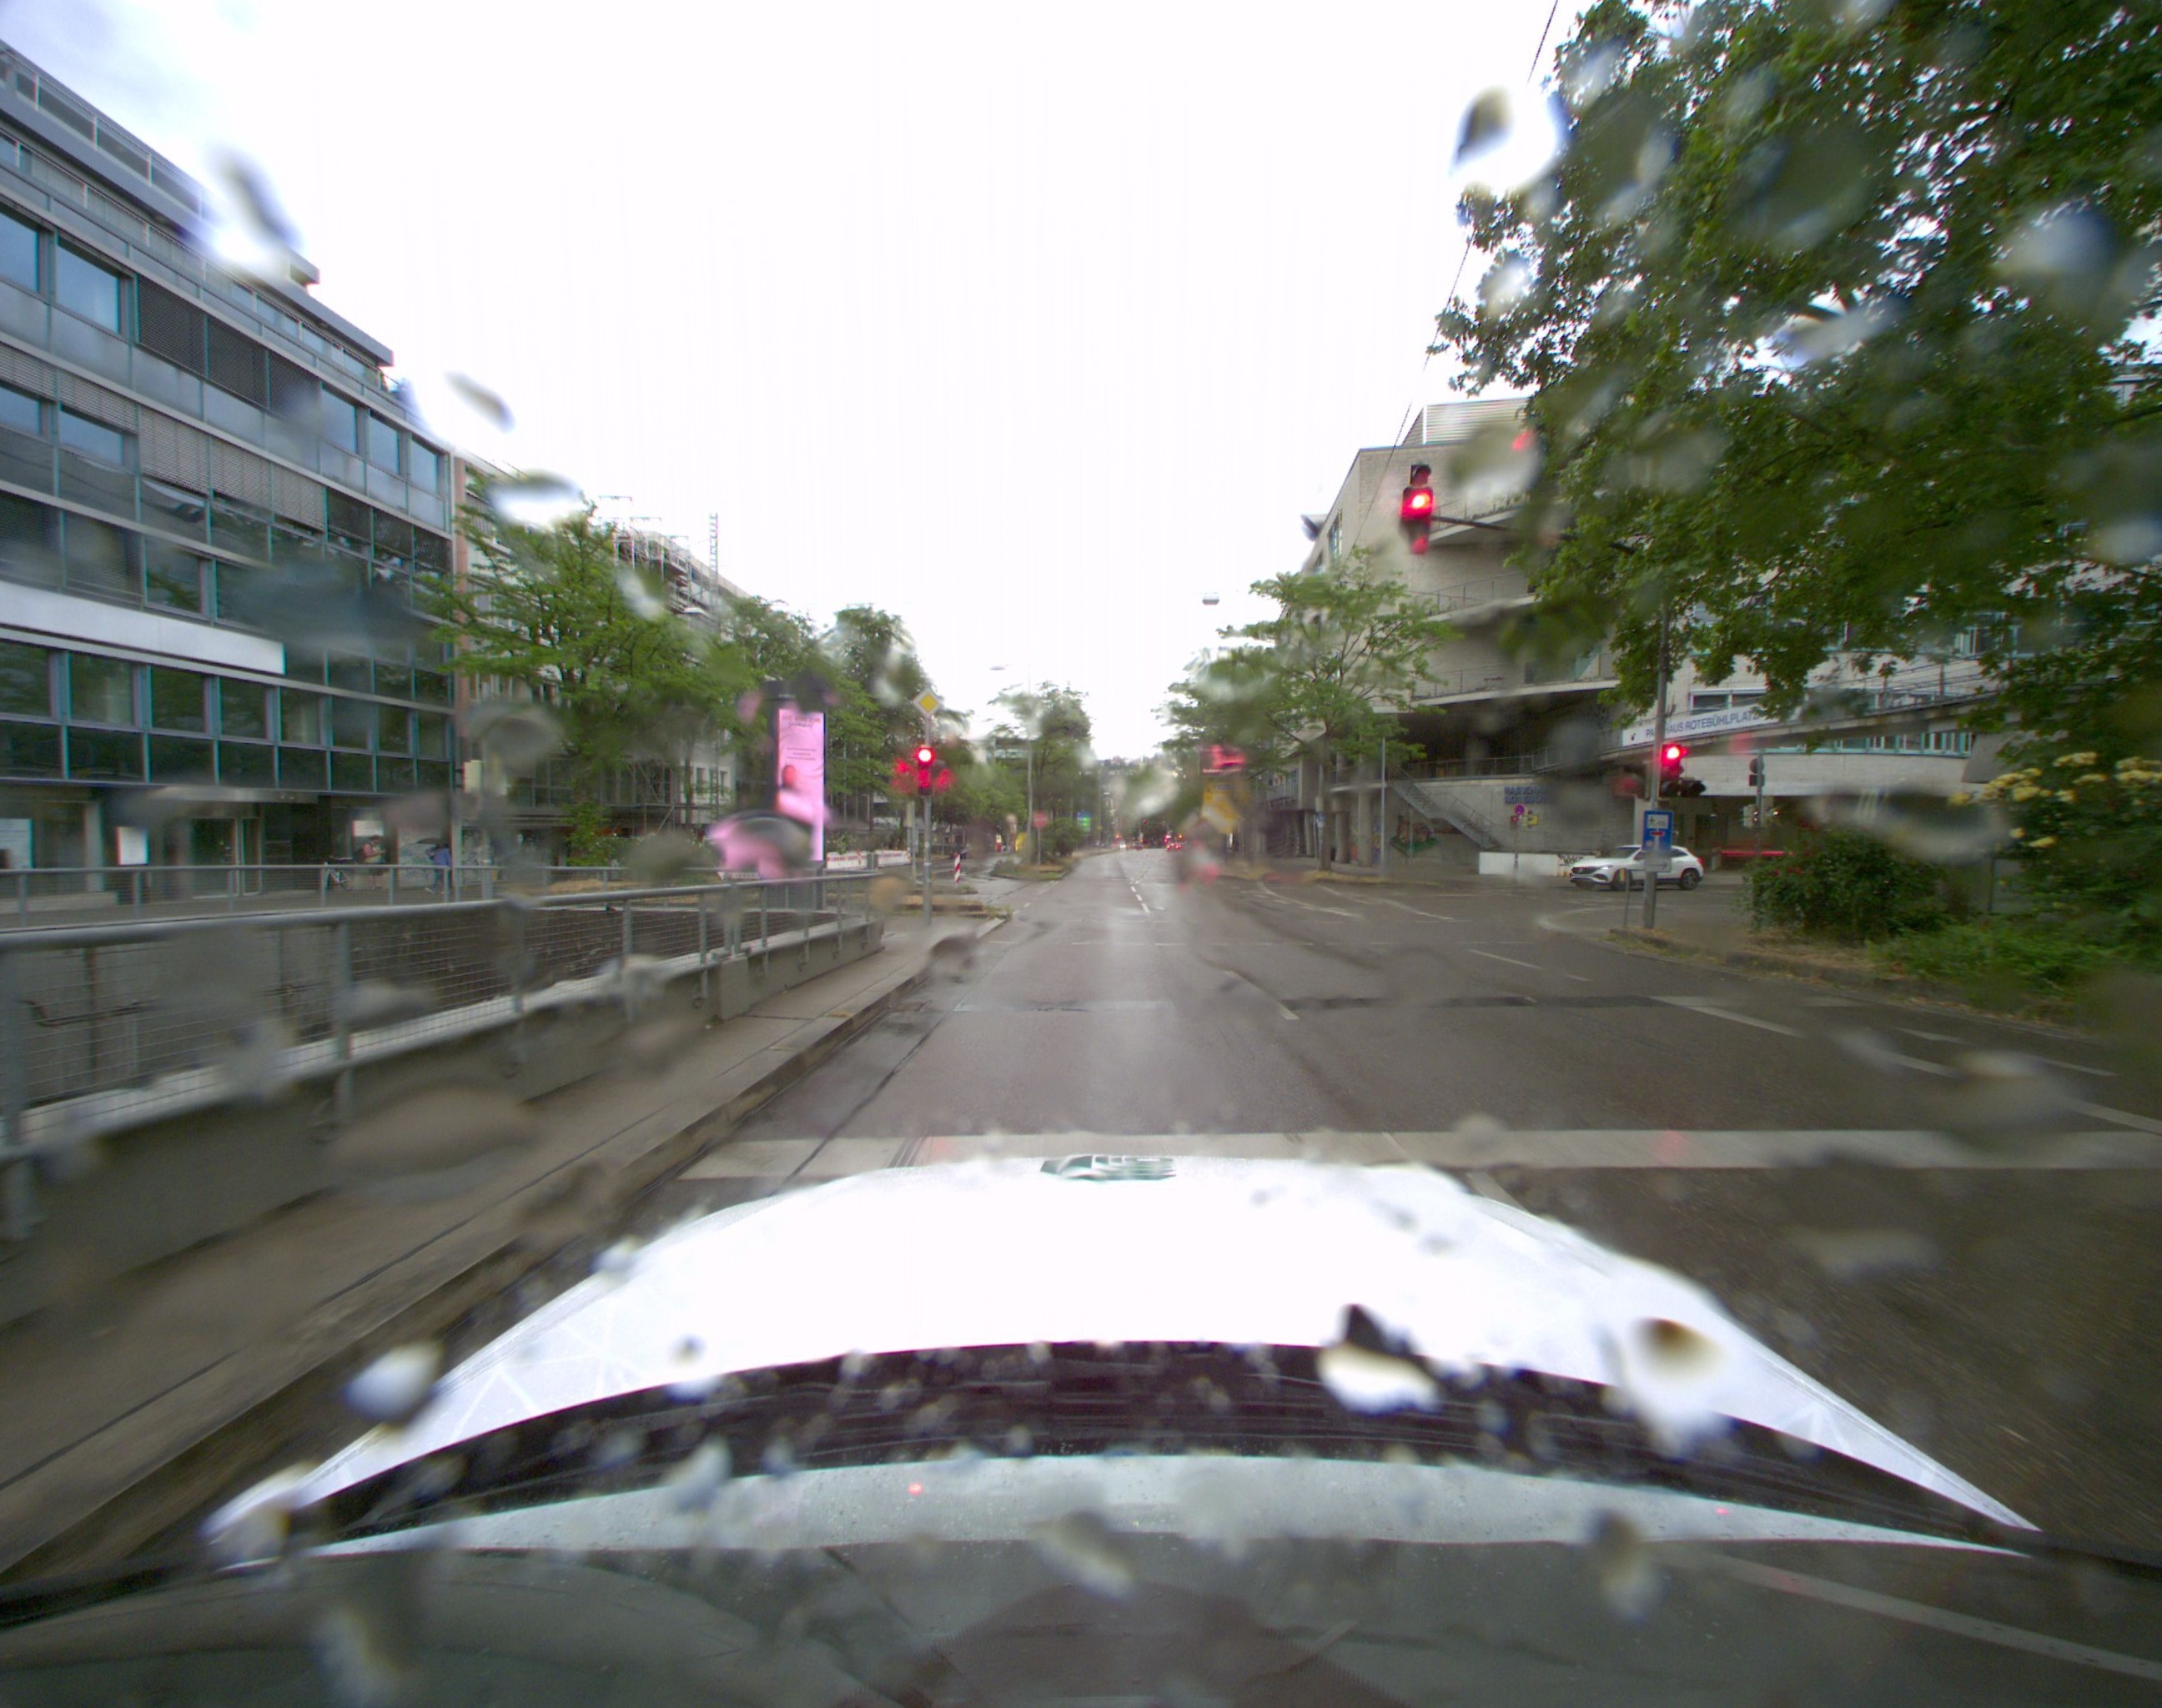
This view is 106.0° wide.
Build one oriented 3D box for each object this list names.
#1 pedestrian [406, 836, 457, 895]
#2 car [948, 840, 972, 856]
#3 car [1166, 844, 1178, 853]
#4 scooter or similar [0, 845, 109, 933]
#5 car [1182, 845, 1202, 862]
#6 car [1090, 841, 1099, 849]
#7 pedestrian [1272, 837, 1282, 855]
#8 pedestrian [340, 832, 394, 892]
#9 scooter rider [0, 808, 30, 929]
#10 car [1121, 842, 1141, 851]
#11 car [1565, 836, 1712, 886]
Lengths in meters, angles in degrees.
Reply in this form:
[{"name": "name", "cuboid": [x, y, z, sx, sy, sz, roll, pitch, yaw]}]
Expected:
[{"name": "pedestrian", "cuboid": [-20.966, 0.358, 26.301, 0.874, 1.868, 0.867, 1, 0, 0]}, {"name": "car", "cuboid": [-12.572, -0.615, 84.645, 1.774, 1.555, 3.895, 1, 2, 1]}, {"name": "car", "cuboid": [15.332, -0.871, 137.515, 1.739, 1.519, 4.108, 1, 0, 2]}, {"name": "scooter or similar", "cuboid": [-17.656, 0.559, 13.467, 0.542, 1.418, 1.963, 1, 0, 14]}, {"name": "car", "cuboid": [11.505, -0.024, 84.299, 1.892, 1.684, 3.917, 1, 0, 6]}, {"name": "car", "cuboid": [3.867, -2.497, 225.272, 2.118, 2.164, 5.204, 1, 0, 5]}, {"name": "pedestrian", "cuboid": [17.072, -0.668, 71.051, 0.782, 1.557, 0.534, 1, 0, 6]}, {"name": "pedestrian", "cuboid": [-22.686, 0.253, 25.891, 0.857, 1.868, 0.964, 1, 0, 20]}, {"name": "scooter rider", "cuboid": [-17.715, 0.228, 13.036, 0.802, 1.948, 0.826, 1, 0, 15]}, {"name": "car", "cuboid": [11.125, -1.704, 181.021, 4.010, 1.919, 1.879, 1, 0, -10]}, {"name": "car", "cuboid": [19.696, 0.274, 28.853, 4.343, 1.684, 1.745, 1, -1, -10]}]
